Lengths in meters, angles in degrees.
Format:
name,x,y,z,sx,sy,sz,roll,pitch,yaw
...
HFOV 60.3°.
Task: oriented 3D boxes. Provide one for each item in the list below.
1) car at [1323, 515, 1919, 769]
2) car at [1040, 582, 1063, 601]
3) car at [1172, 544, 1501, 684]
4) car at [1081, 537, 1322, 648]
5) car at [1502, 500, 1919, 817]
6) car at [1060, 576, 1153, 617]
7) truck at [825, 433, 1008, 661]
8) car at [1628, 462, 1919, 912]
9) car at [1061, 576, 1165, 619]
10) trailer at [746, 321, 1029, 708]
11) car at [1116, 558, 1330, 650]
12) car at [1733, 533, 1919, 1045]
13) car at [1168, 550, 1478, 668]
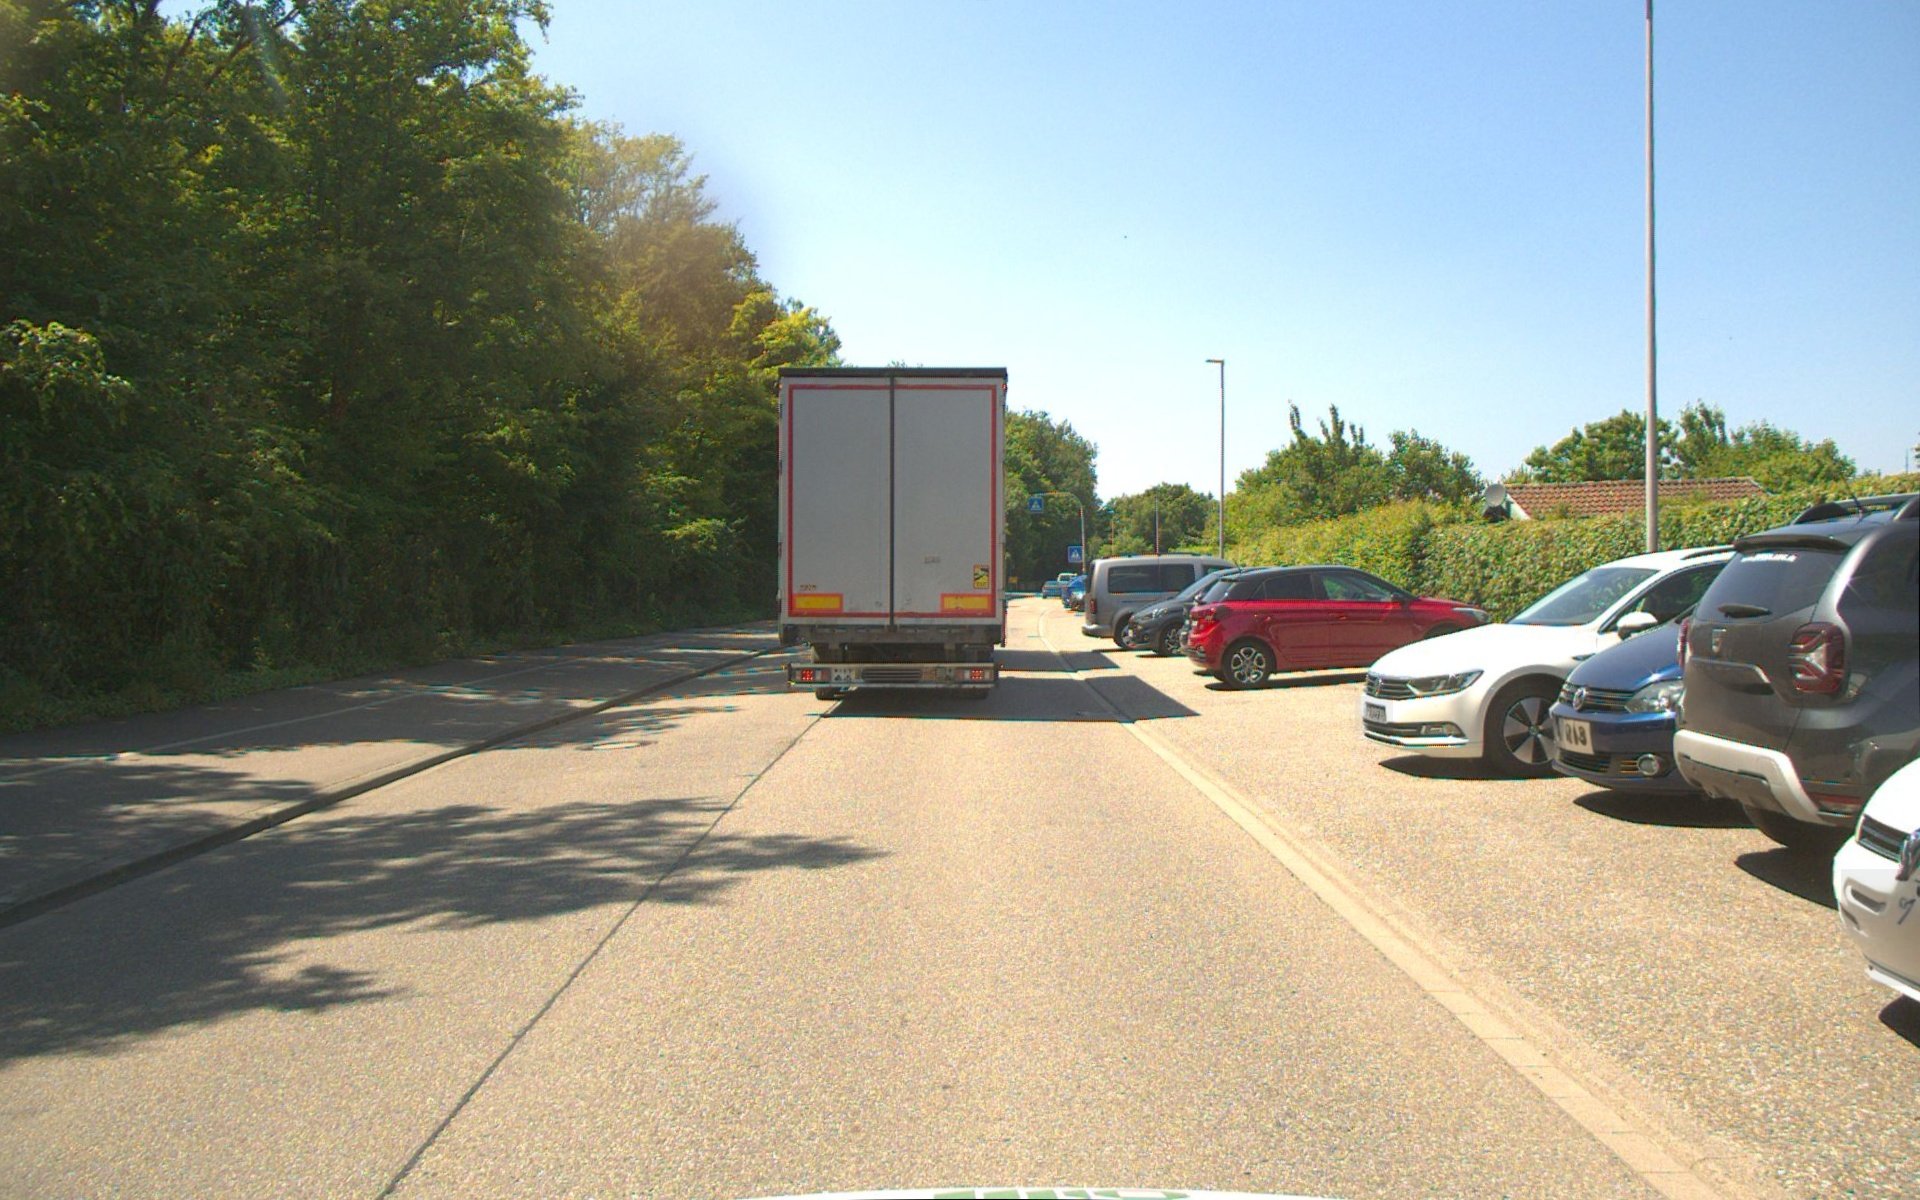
name,x,y,z,sx,sy,sz,roll,pitch,yaw
car,5.183,0.241,12.195,4.468,1.464,1.960,-4,0,-4
car,7.322,-0.694,132.564,1.744,1.512,4.001,0,0,2
car,4.853,0.163,21.734,3.839,1.504,1.845,-4,0,1
car,4.803,-0.157,33.408,4.526,1.880,1.996,-4,0,1
car,5.508,0.219,9.740,3.968,1.575,1.757,-4,0,-3
car,6.701,-0.152,76.019,4.150,1.662,1.823,-3,-1,2
truck,-0.712,-0.929,30.774,3.050,3.790,6.414,0,1,0
car,5.454,0.216,7.330,4.170,1.728,1.854,-3,0,1
car,6.163,-0.111,66.962,4.077,1.521,1.883,-3,-1,2
trailer,-0.752,-0.992,23.654,3.049,4.174,11.537,0,1,0
car,4.752,0.065,30.207,3.505,1.528,1.840,-2,0,-5
car,4.692,0.433,4.883,3.916,1.477,1.831,-3,0,-1
car,5.292,0.120,24.504,4.118,1.412,1.840,-4,0,-1
